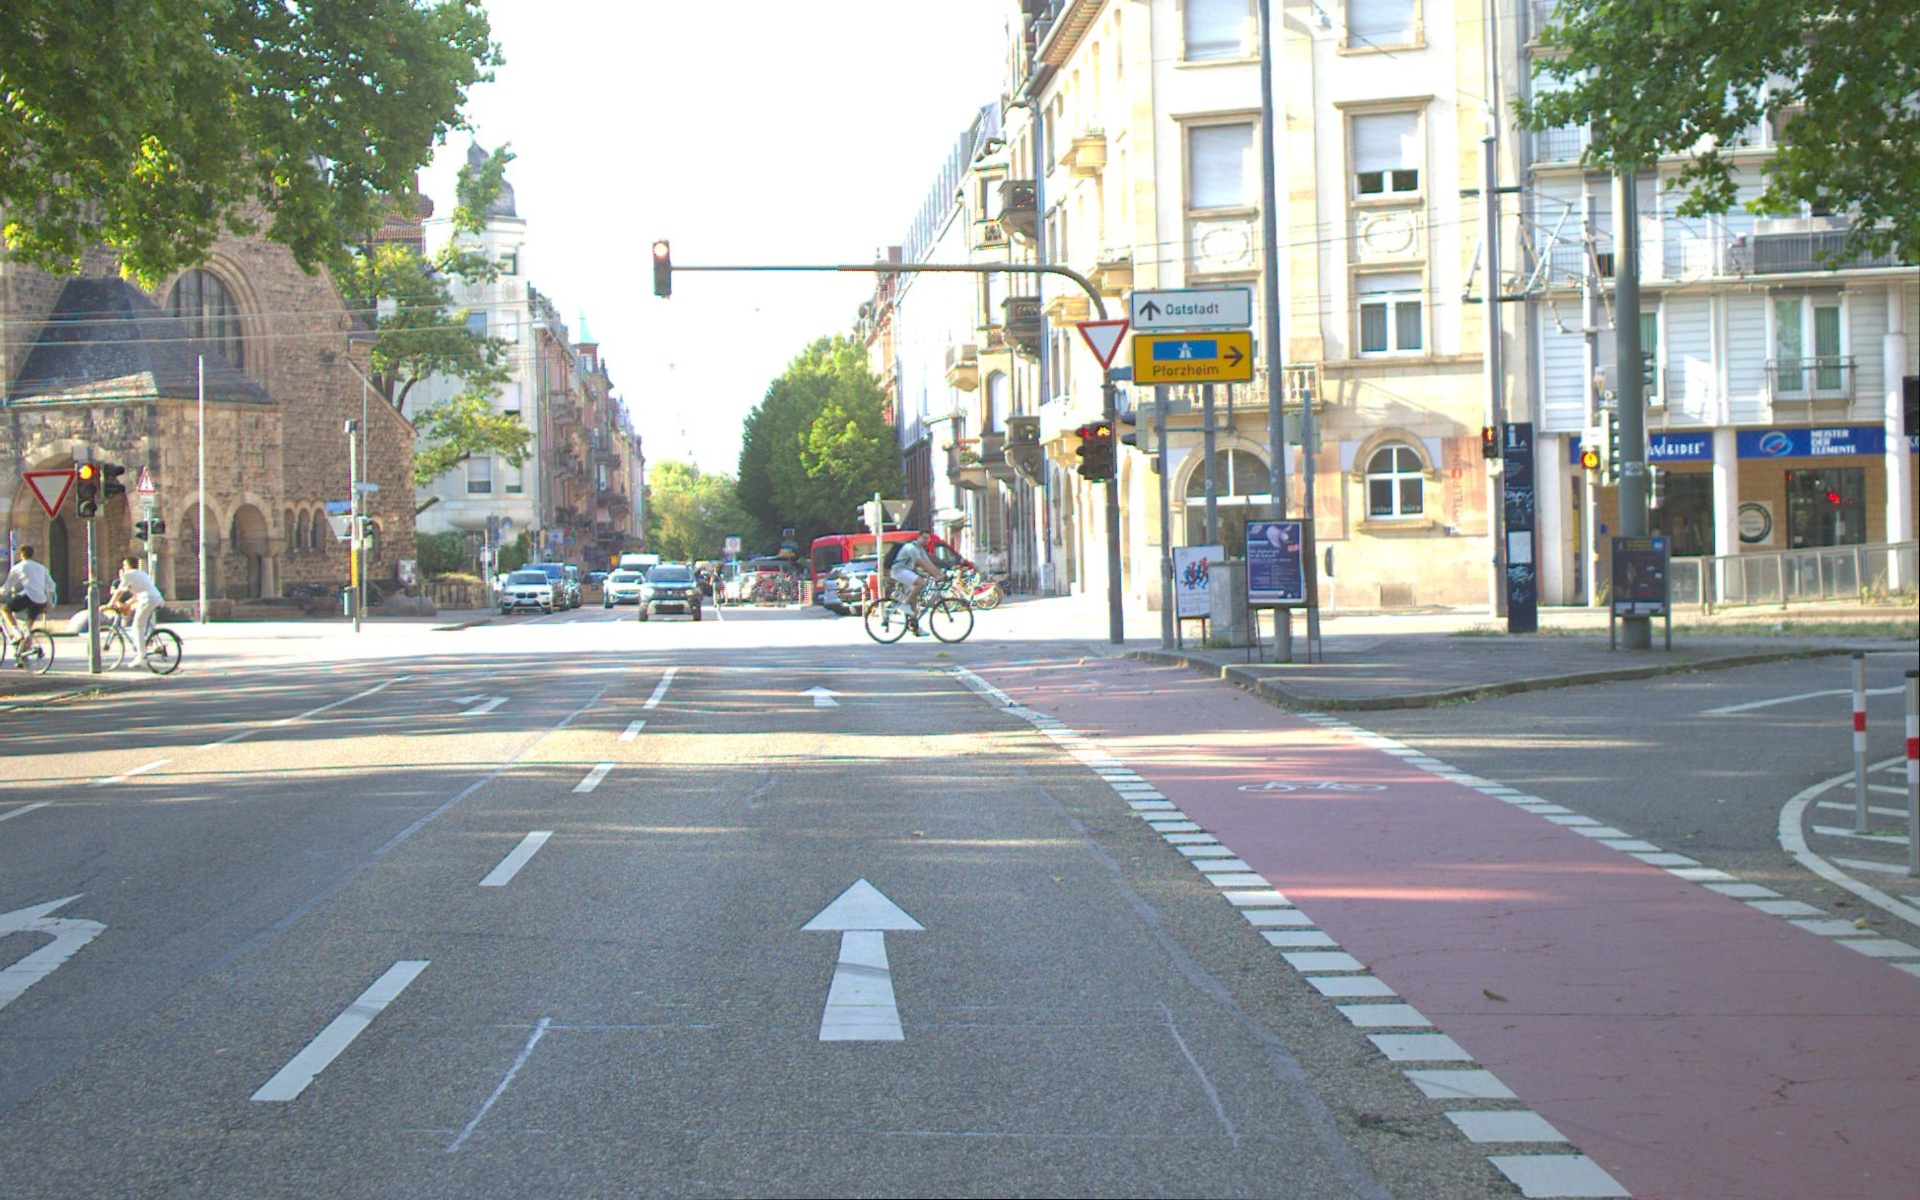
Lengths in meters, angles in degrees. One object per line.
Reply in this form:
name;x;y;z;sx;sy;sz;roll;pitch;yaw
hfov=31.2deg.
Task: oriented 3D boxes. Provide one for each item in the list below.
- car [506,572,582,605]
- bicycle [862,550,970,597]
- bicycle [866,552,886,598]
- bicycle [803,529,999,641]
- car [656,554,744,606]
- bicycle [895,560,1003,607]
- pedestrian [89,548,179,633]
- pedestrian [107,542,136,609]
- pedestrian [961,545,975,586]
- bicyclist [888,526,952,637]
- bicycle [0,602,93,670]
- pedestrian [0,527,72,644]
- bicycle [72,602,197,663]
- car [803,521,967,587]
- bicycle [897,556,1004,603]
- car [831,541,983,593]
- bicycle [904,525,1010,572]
car;-15.187;-0.401;125.662;1.595;1.140;3.381;1;0;15
bicycle;-1.176;-0.711;91.244;2.802;1.199;0.517;1;0;-6
bicycle;-2.290;-0.674;93.636;0.508;1.199;2.092;1;0;-1
bicycle;-0.888;-0.225;52.028;2.842;1.650;0.830;1;0;9
car;-7.482;-0.564;99.290;1.587;1.457;3.181;1;0;14
bicycle;-0.291;-0.425;90.347;2.802;1.199;0.510;1;0;-6
pedestrian;-12.547;-0.145;52.249;1.050;1.273;0.791;1;0;27
pedestrian;-22.655;-0.657;92.903;0.610;1.784;0.711;1;0;-2
pedestrian;0.259;-1.115;111.190;0.394;1.285;0.431;1;0;2
bicyclist;-0.600;-0.271;51.995;0.802;1.651;0.934;1;0;9
bicycle;-13.644;0.522;50.514;1.786;0.978;0.655;1;0;29
pedestrian;-13.664;-0.209;50.557;0.993;1.702;0.627;1;0;29
bicycle;-12.545;0.499;52.221;1.784;0.892;0.749;-1;1;27
car;-2.402;-1.455;110.724;4.988;2.007;2.166;1;0;-38
bicycle;-0.256;-0.542;91.947;2.802;1.199;0.517;1;0;-6
car;-1.635;-1.006;106.943;4.417;1.532;1.875;1;0;-35
bicycle;-0.077;-1.387;92.579;2.802;1.199;0.510;1;0;-6
